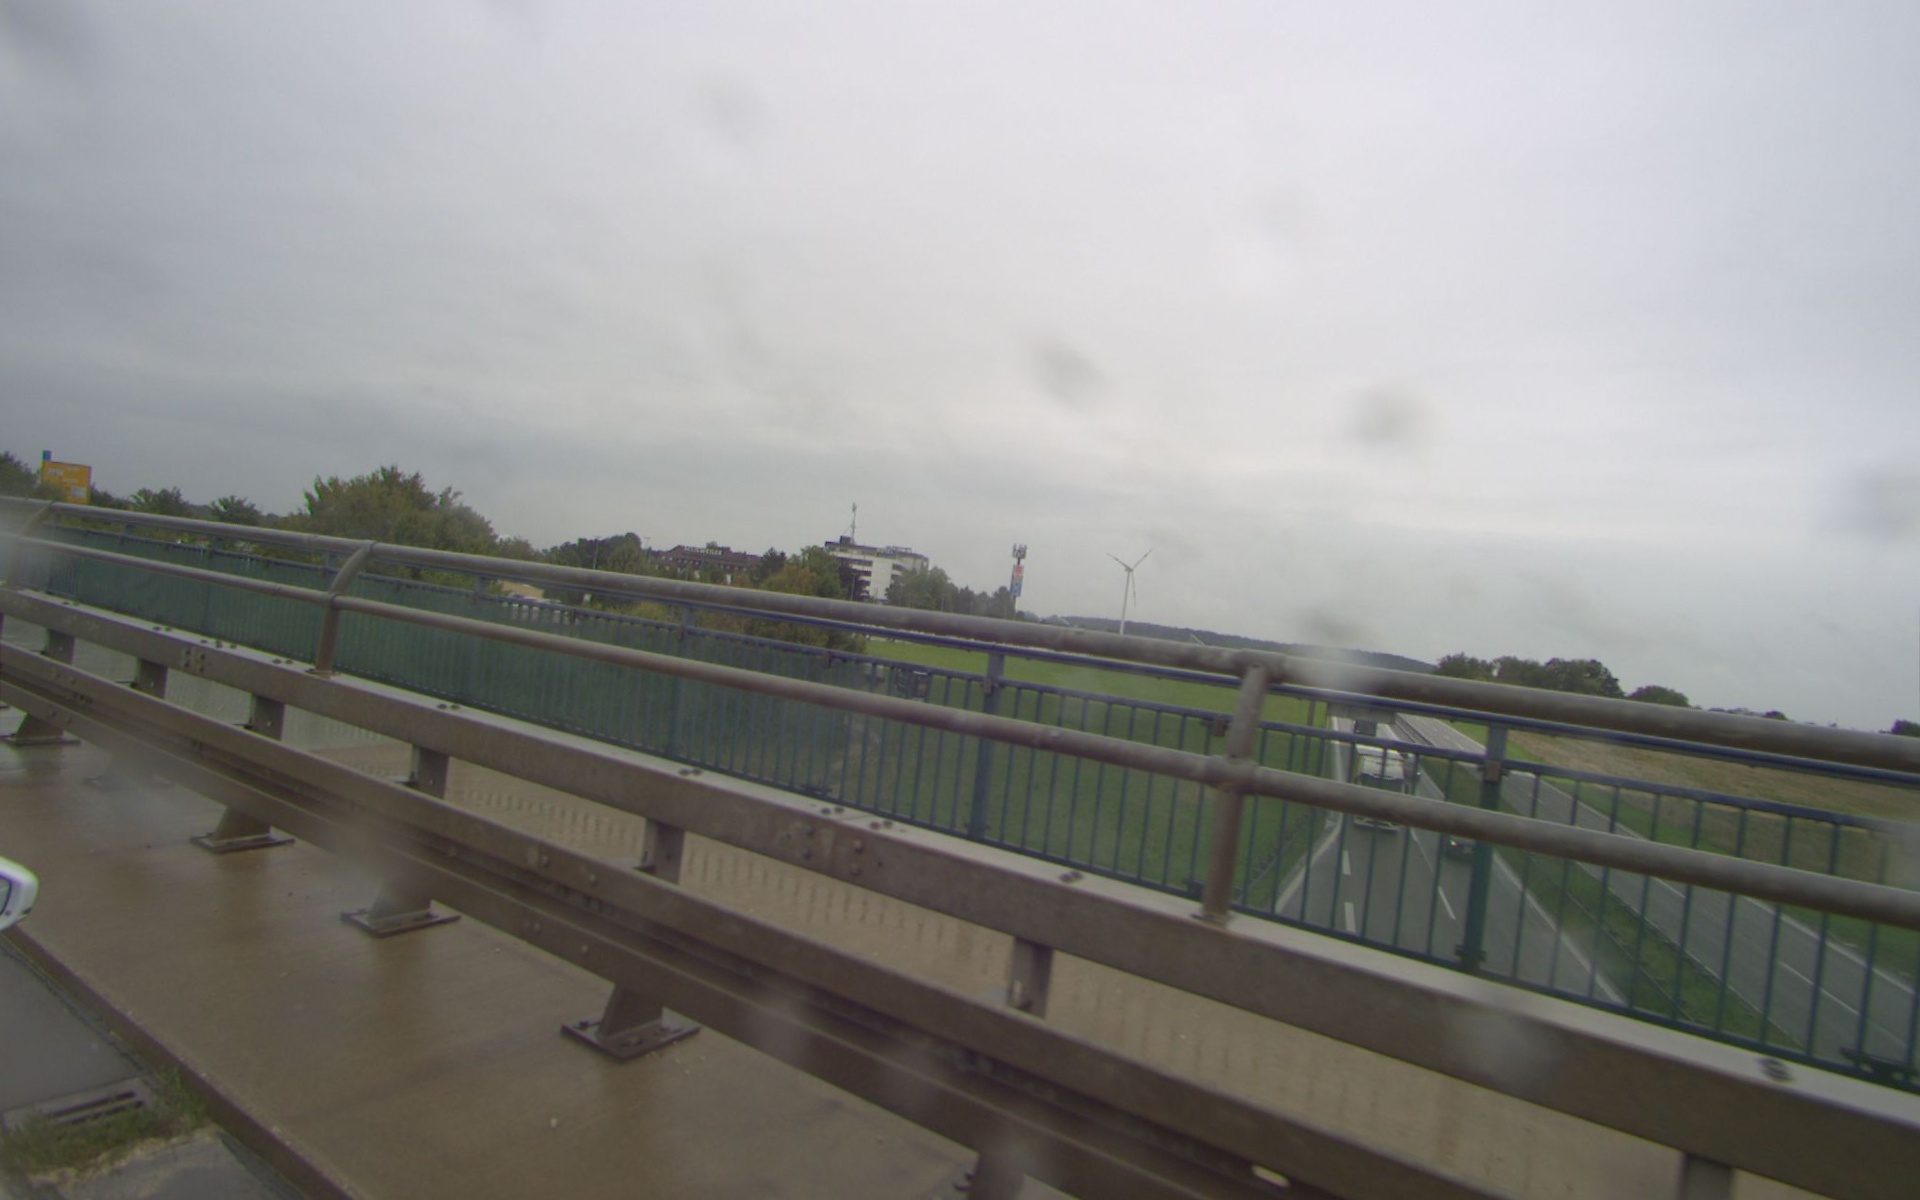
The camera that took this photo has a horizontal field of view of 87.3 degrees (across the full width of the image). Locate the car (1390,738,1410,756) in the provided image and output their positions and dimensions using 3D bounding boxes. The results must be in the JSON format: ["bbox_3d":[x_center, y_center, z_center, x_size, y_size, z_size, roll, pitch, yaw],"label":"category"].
[{"bbox_3d":[47.795,15.971,109.325,1.646,1.367,4.001,8,-1,21],"label":"car"}]

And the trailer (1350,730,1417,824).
[{"bbox_3d":[26.455,10.815,63.385,2.829,4.015,14.025,8,0,21],"label":"trailer"}]

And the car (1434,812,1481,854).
[{"bbox_3d":[26.084,12.198,52.856,1.646,1.366,4.004,8,-2,21],"label":"car"}]

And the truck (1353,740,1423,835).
[{"bbox_3d":[23.873,10.354,56.464,2.829,4.015,6.821,8,0,21],"label":"truck"}]

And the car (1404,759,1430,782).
[{"bbox_3d":[40.343,15.058,88.864,1.646,1.367,4.002,8,-1,20],"label":"car"}]

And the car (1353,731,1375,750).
[{"bbox_3d":[48.180,16.776,119.949,1.963,1.783,4.006,8,-3,19],"label":"car"}]
